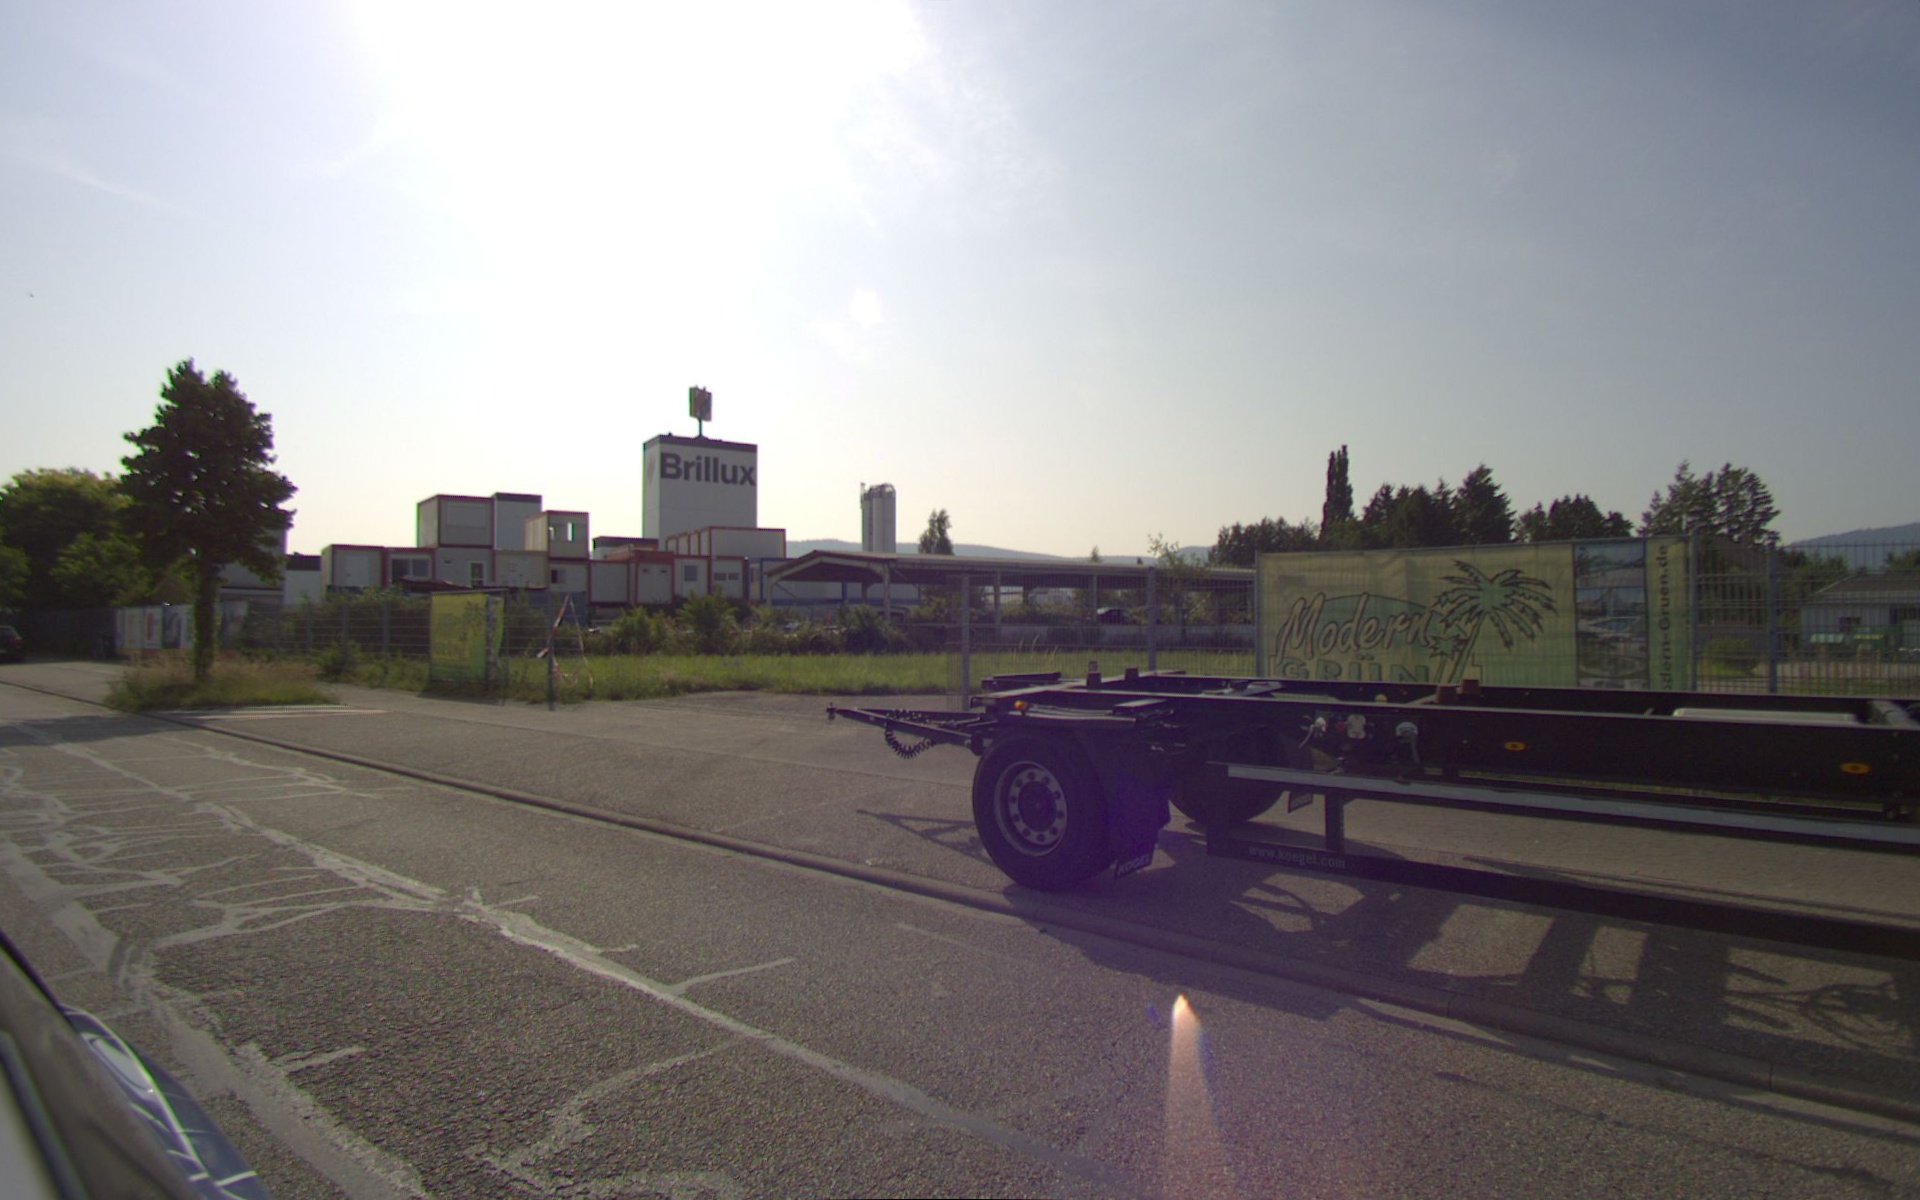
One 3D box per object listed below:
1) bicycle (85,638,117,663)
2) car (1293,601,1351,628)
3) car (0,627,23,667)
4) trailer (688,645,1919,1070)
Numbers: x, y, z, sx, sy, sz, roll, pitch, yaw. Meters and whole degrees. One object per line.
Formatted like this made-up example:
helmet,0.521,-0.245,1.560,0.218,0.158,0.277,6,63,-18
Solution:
bicycle,-34.732,2.042,40.912,2.450,0.980,0.556,-1,-2,39
car,25.586,1.025,71.502,3.836,1.821,1.752,1,-2,-31
car,-37.247,1.795,38.678,4.091,1.481,1.670,-2,-2,41
trailer,2.402,0.942,5.488,9.354,1.193,2.557,-1,0,40
